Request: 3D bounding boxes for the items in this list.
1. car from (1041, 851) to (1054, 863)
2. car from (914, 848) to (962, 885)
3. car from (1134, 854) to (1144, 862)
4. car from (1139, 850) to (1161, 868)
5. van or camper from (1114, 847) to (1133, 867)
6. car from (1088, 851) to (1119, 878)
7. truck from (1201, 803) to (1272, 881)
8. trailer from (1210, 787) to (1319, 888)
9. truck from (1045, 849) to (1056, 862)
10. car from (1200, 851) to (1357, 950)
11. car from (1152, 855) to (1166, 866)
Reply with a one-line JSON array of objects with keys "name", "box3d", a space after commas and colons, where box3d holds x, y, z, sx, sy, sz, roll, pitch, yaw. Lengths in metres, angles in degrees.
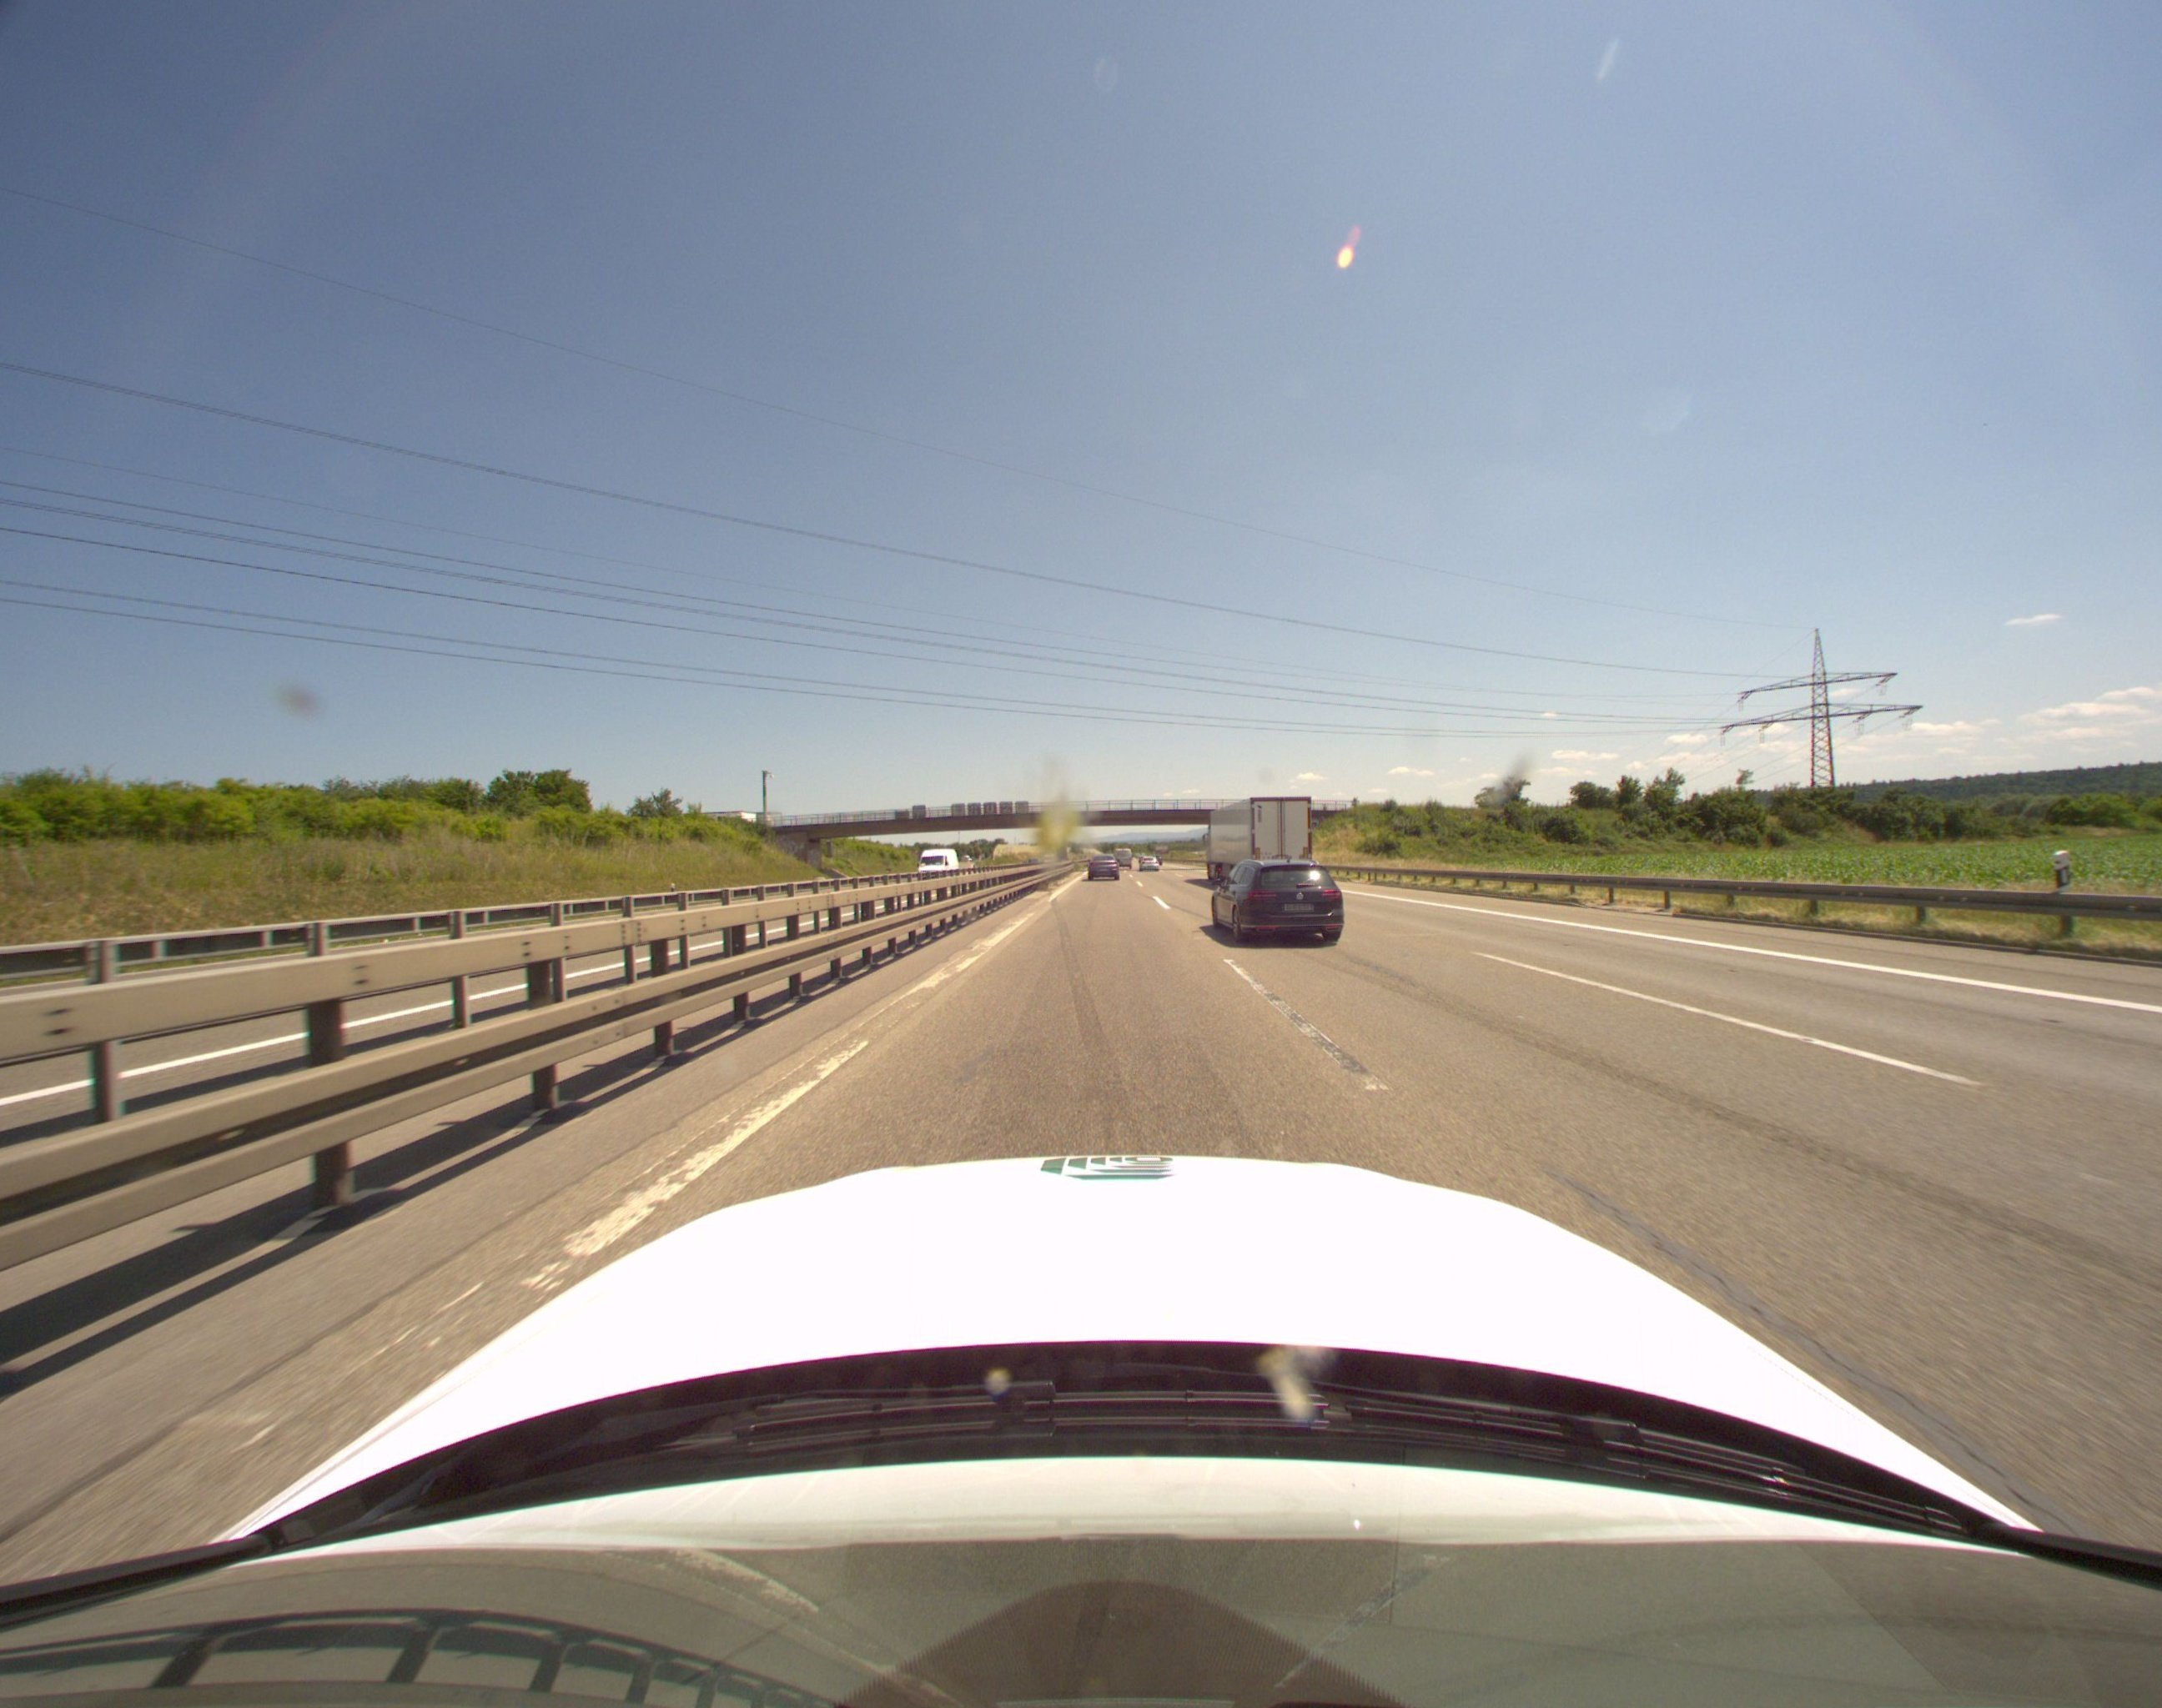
[{"name": "car", "box3d": [-7.001, 0.611, 171.494, 2.191, 2.509, 6.333, -1, 0, 2]}, {"name": "car", "box3d": [-10.704, 0.878, 61.683, 2.024, 2.605, 7.603, -1, 0, 2]}, {"name": "car", "box3d": [12.269, 0.885, 172.653, 1.986, 1.683, 4.002, -1, 0, 2]}, {"name": "car", "box3d": [6.769, 0.462, 79.870, 1.986, 1.683, 4.002, -1, 0, 2]}, {"name": "van or camper", "box3d": [4.992, 0.340, 96.071, 2.102, 2.211, 5.268, -1, 0, 2]}, {"name": "car", "box3d": [1.392, 0.649, 51.875, 1.846, 1.664, 3.733, 0, 0, -1]}, {"name": "truck", "box3d": [9.056, -0.663, 48.231, 2.968, 4.227, 7.691, -1, 0, 2]}, {"name": "trailer", "box3d": [8.797, -0.676, 41.093, 2.932, 4.198, 13.603, -1, 0, 2]}, {"name": "truck", "box3d": [-8.967, 0.446, 238.754, 2.729, 3.679, 5.901, -1, 0, 2]}, {"name": "car", "box3d": [3.525, 0.754, 15.538, 1.926, 1.574, 4.936, -1, 0, 1]}, {"name": "car", "box3d": [12.313, 1.060, 128.595, 1.986, 1.683, 4.002, -1, 0, 2]}]
